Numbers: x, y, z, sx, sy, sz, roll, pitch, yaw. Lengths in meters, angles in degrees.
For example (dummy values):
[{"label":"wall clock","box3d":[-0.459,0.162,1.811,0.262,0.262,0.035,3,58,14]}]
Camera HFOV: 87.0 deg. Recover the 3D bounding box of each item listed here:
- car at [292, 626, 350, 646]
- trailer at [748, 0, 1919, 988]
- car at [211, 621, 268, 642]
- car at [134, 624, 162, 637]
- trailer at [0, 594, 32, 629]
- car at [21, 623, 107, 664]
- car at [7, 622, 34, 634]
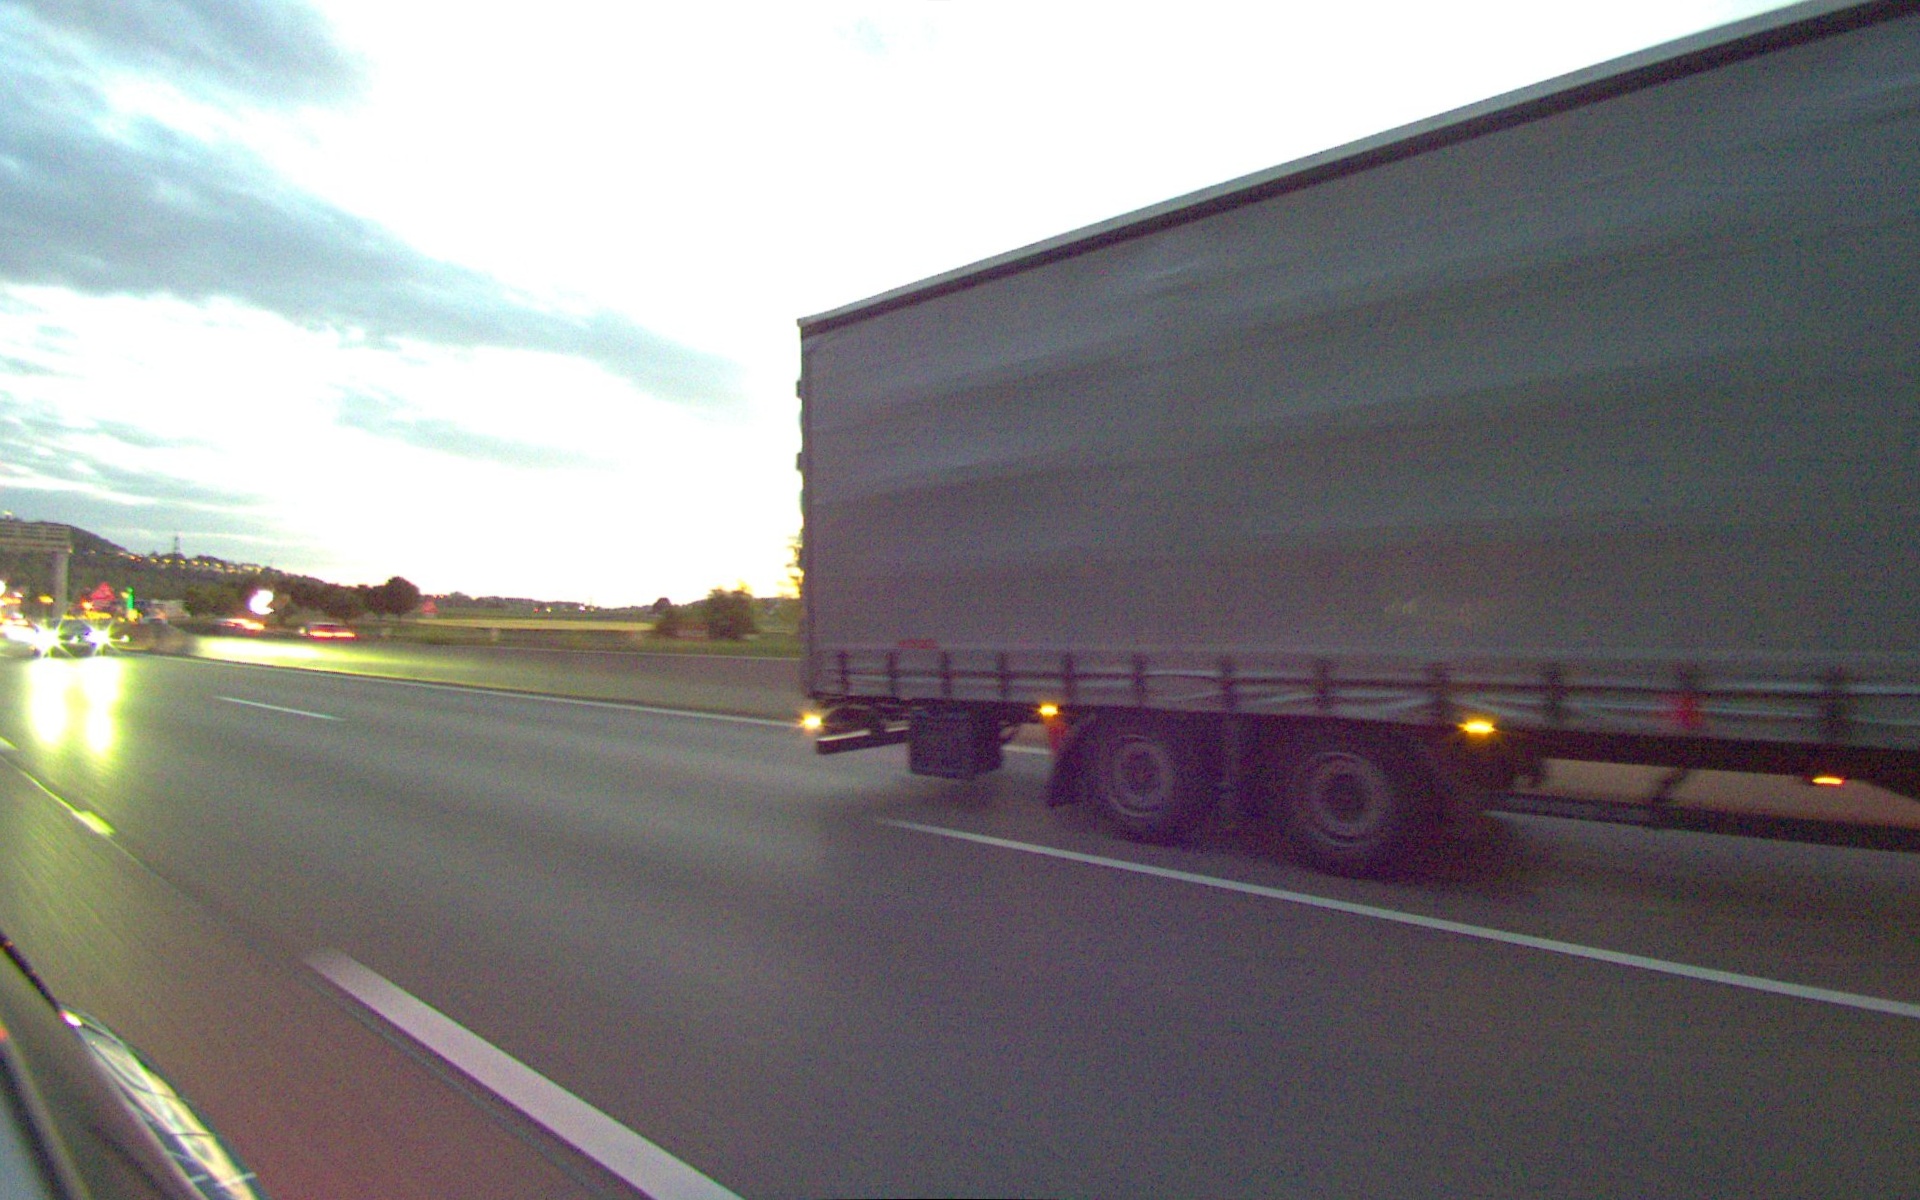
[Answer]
[{"label":"car","box3d":[-35.891,1.990,56.820,4.523,0.996,1.563,-1,0,41]},{"label":"trailer","box3d":[4.556,-0.607,4.724,14.520,4.116,2.764,-1,-1,42]},{"label":"car","box3d":[-37.769,1.632,53.018,3.564,0.996,1.675,-1,0,41]},{"label":"car","box3d":[-78.821,2.970,98.214,3.608,1.200,1.520,-1,0,41]},{"label":"trailer","box3d":[-169.426,2.055,179.402,19.206,5.829,5.248,-1,0,42]},{"label":"car","box3d":[-35.121,1.660,39.618,5.391,1.448,1.796,-1,0,41]},{"label":"car","box3d":[-105.649,3.133,113.778,3.999,1.213,1.843,-1,0,42]}]
